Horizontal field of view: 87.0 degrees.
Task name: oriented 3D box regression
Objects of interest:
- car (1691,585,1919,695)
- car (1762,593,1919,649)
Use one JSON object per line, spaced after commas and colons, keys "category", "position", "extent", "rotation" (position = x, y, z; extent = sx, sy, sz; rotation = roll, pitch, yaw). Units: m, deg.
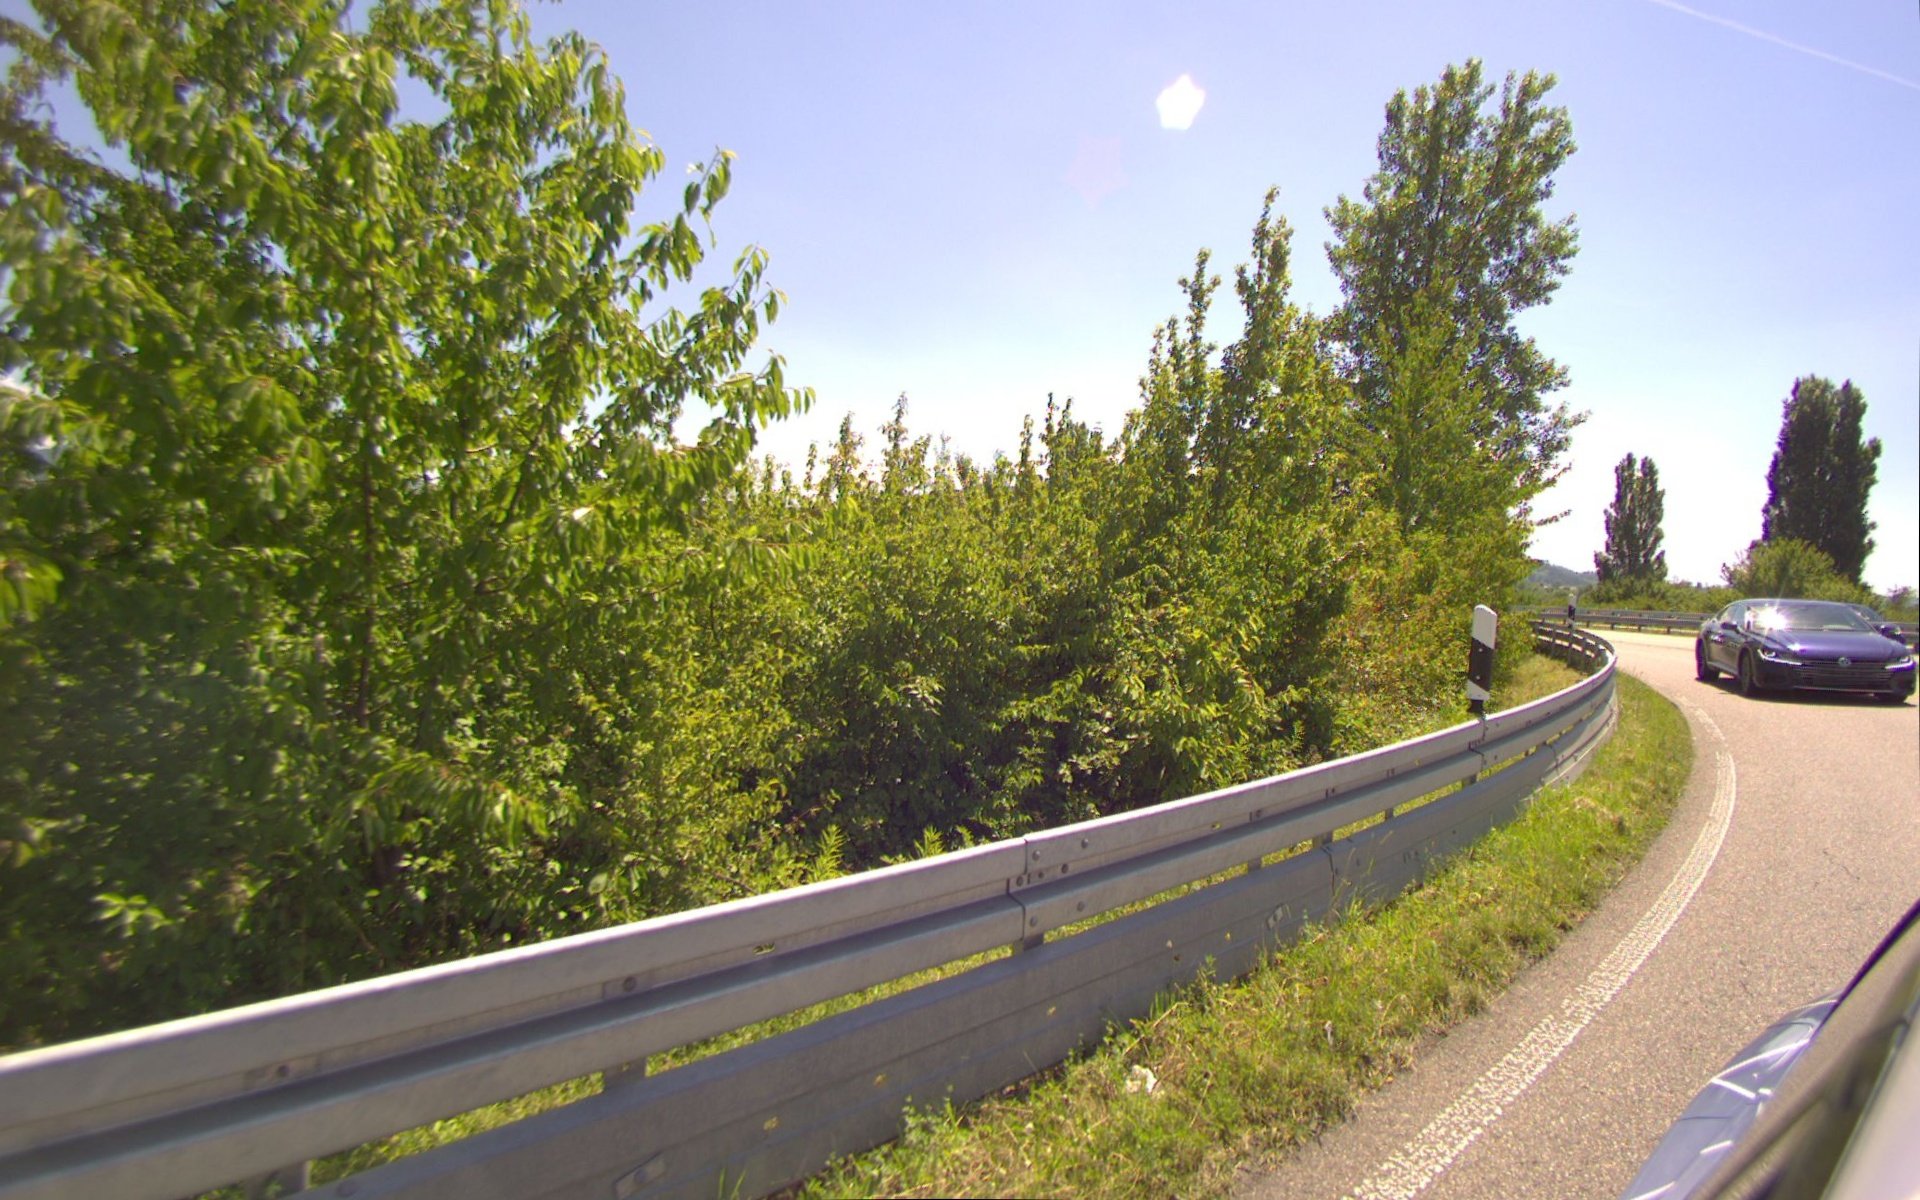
{"category": "car", "position": [13.037, 0.541, 15.690], "extent": [1.824, 1.449, 4.496], "rotation": [-2, -1, 24]}
{"category": "car", "position": [27.813, 0.618, 31.992], "extent": [1.798, 1.631, 3.998], "rotation": [1, 0, 2]}
